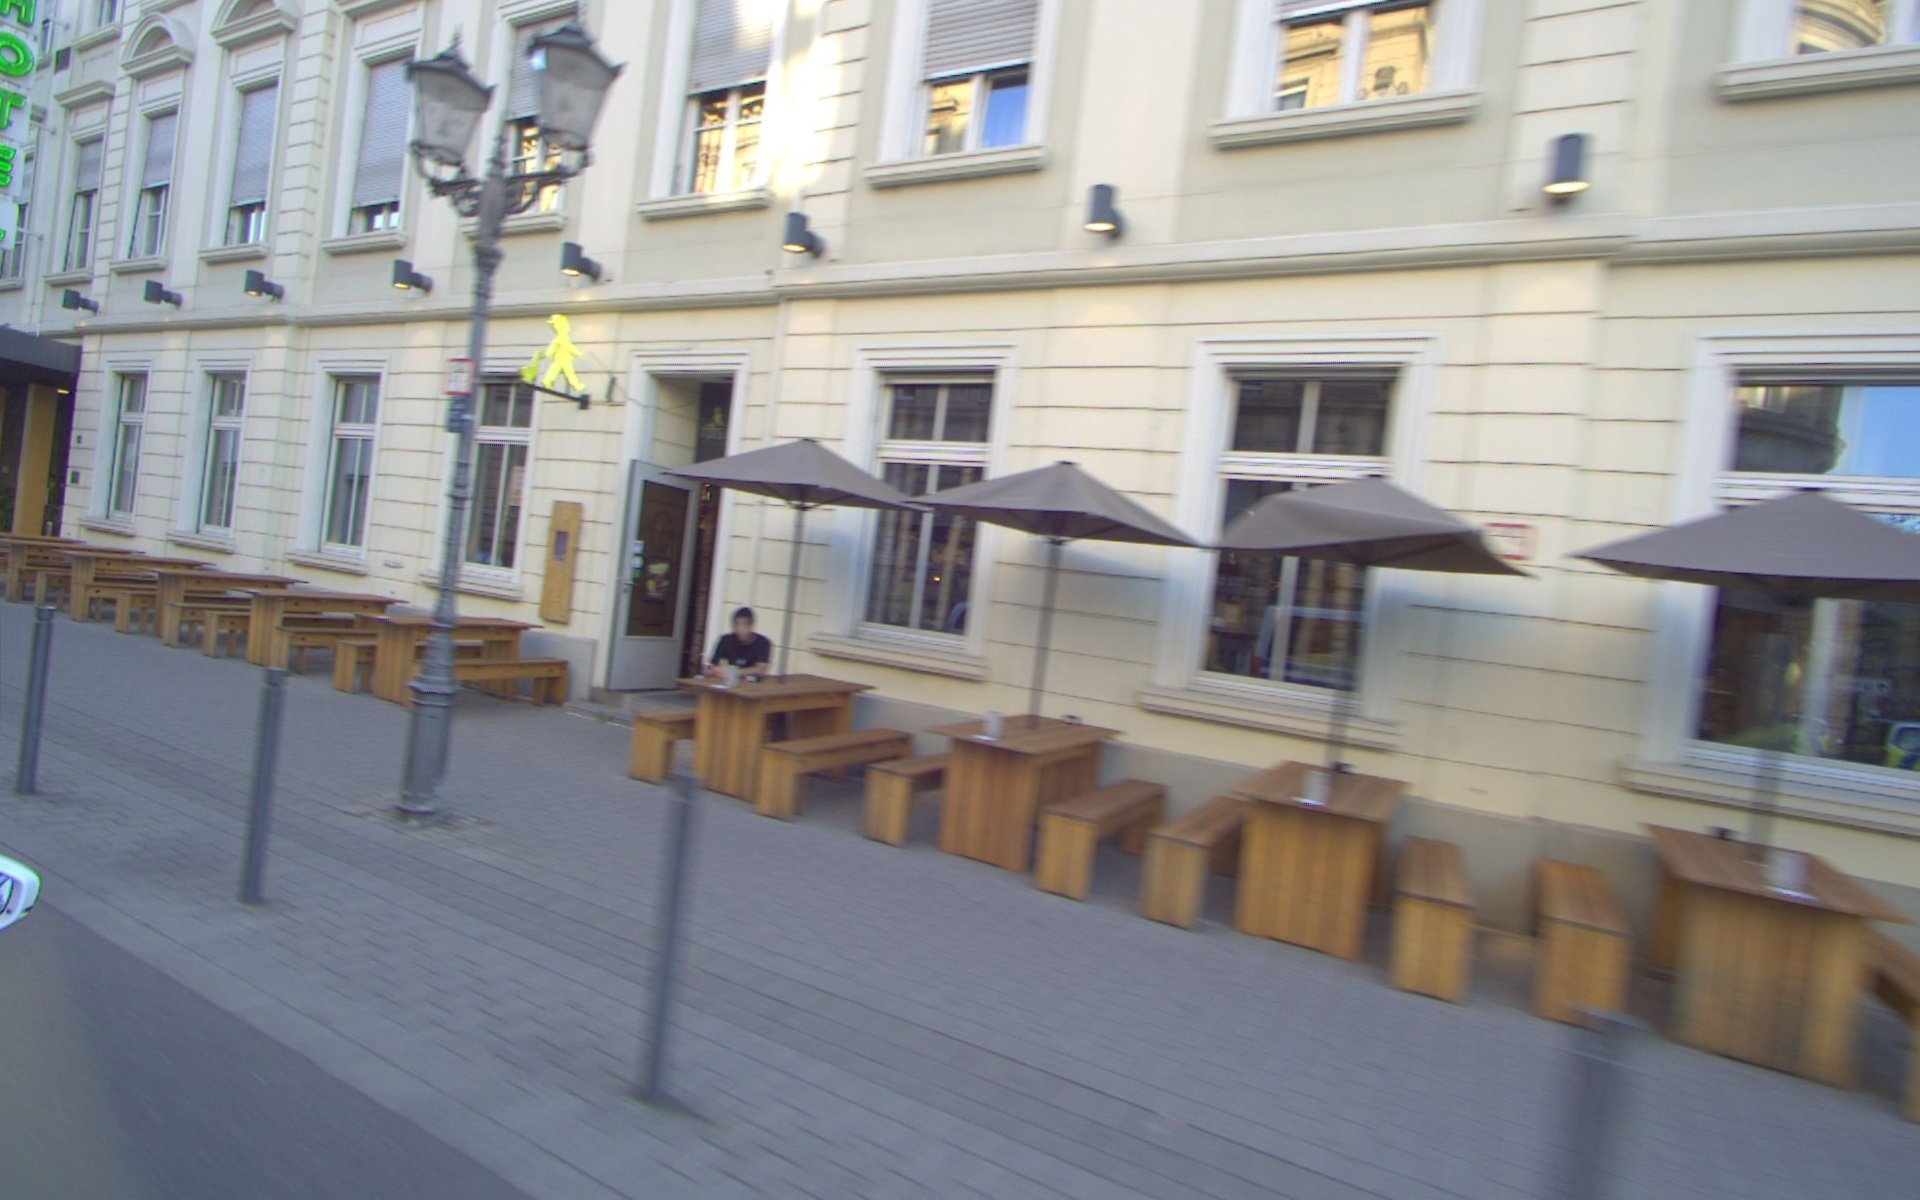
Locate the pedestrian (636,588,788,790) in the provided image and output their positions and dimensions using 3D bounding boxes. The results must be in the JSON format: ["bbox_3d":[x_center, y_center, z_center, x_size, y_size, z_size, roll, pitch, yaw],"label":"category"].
[{"bbox_3d":[-1.871,0.653,7.676,0.710,1.376,0.777,7,1,13],"label":"pedestrian"}]
